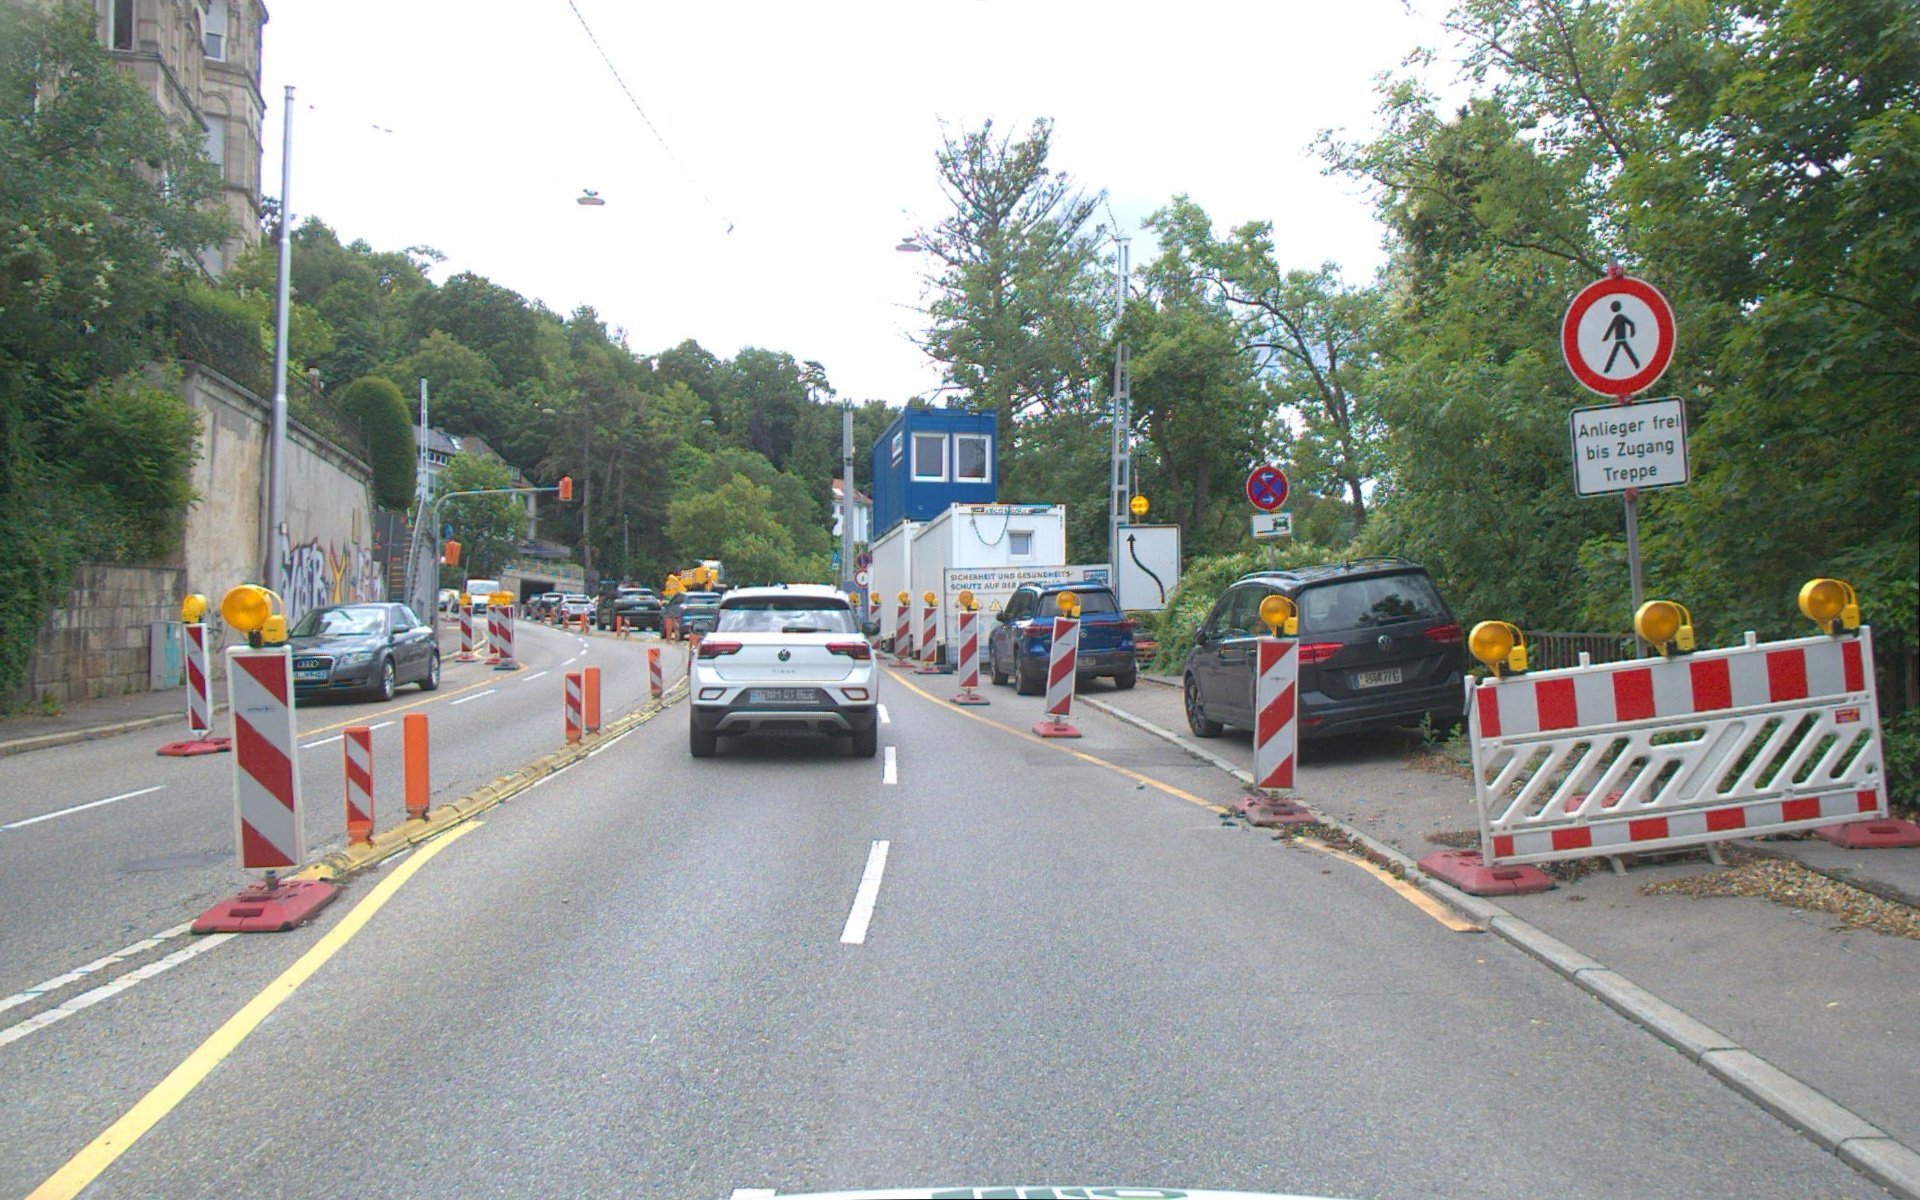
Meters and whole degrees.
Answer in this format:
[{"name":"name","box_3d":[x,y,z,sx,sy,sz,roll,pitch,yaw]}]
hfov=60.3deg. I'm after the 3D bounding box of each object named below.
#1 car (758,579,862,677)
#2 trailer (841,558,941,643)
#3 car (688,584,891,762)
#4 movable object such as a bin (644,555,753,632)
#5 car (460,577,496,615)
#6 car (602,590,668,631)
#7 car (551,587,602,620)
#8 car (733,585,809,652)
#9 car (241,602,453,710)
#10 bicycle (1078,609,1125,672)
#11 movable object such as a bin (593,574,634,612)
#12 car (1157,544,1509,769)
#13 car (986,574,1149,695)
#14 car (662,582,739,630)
[{"name":"car","box_3d":[-2.763,0.480,30.618,1.774,1.692,3.996,0,0,-5]},{"name":"trailer","box_3d":[-2.311,0.006,53.845,2.073,2.594,5.096,-1,0,-16]},{"name":"car","box_3d":[-1.732,0.638,16.586,1.775,1.558,3.994,0,0,-7]},{"name":"movable object such as a bin","box_3d":[-11.501,-0.268,72.151,2.774,3.124,7.766,2,-1,-23]},{"name":"car","box_3d":[-29.469,-0.266,100.997,2.034,2.225,4.939,-1,1,-17]},{"name":"car","box_3d":[-12.838,0.411,65.150,1.770,1.537,3.971,0,0,-23]},{"name":"car","box_3d":[-18.519,0.172,79.745,1.770,1.537,3.971,0,0,-23]},{"name":"car","box_3d":[-5.117,0.468,44.385,1.777,1.692,3.990,0,0,-10]},{"name":"car","box_3d":[-9.044,0.769,24.803,1.764,1.397,4.384,-2,0,-4]},{"name":"bicycle","box_3d":[2.682,0.756,31.532,0.489,1.127,1.797,-2,0,-7]},{"name":"movable object such as a bin","box_3d":[-25.835,-0.523,123.544,2.167,2.709,4.942,1,0,-3]},{"name":"car","box_3d":[3.386,0.470,16.056,1.827,1.703,4.640,-5,0,-6]},{"name":"car","box_3d":[1.620,0.508,26.581,1.804,1.671,4.496,-4,0,-6]},{"name":"car","box_3d":[-8.609,0.190,54.581,1.768,1.537,3.976,0,0,-20]}]
